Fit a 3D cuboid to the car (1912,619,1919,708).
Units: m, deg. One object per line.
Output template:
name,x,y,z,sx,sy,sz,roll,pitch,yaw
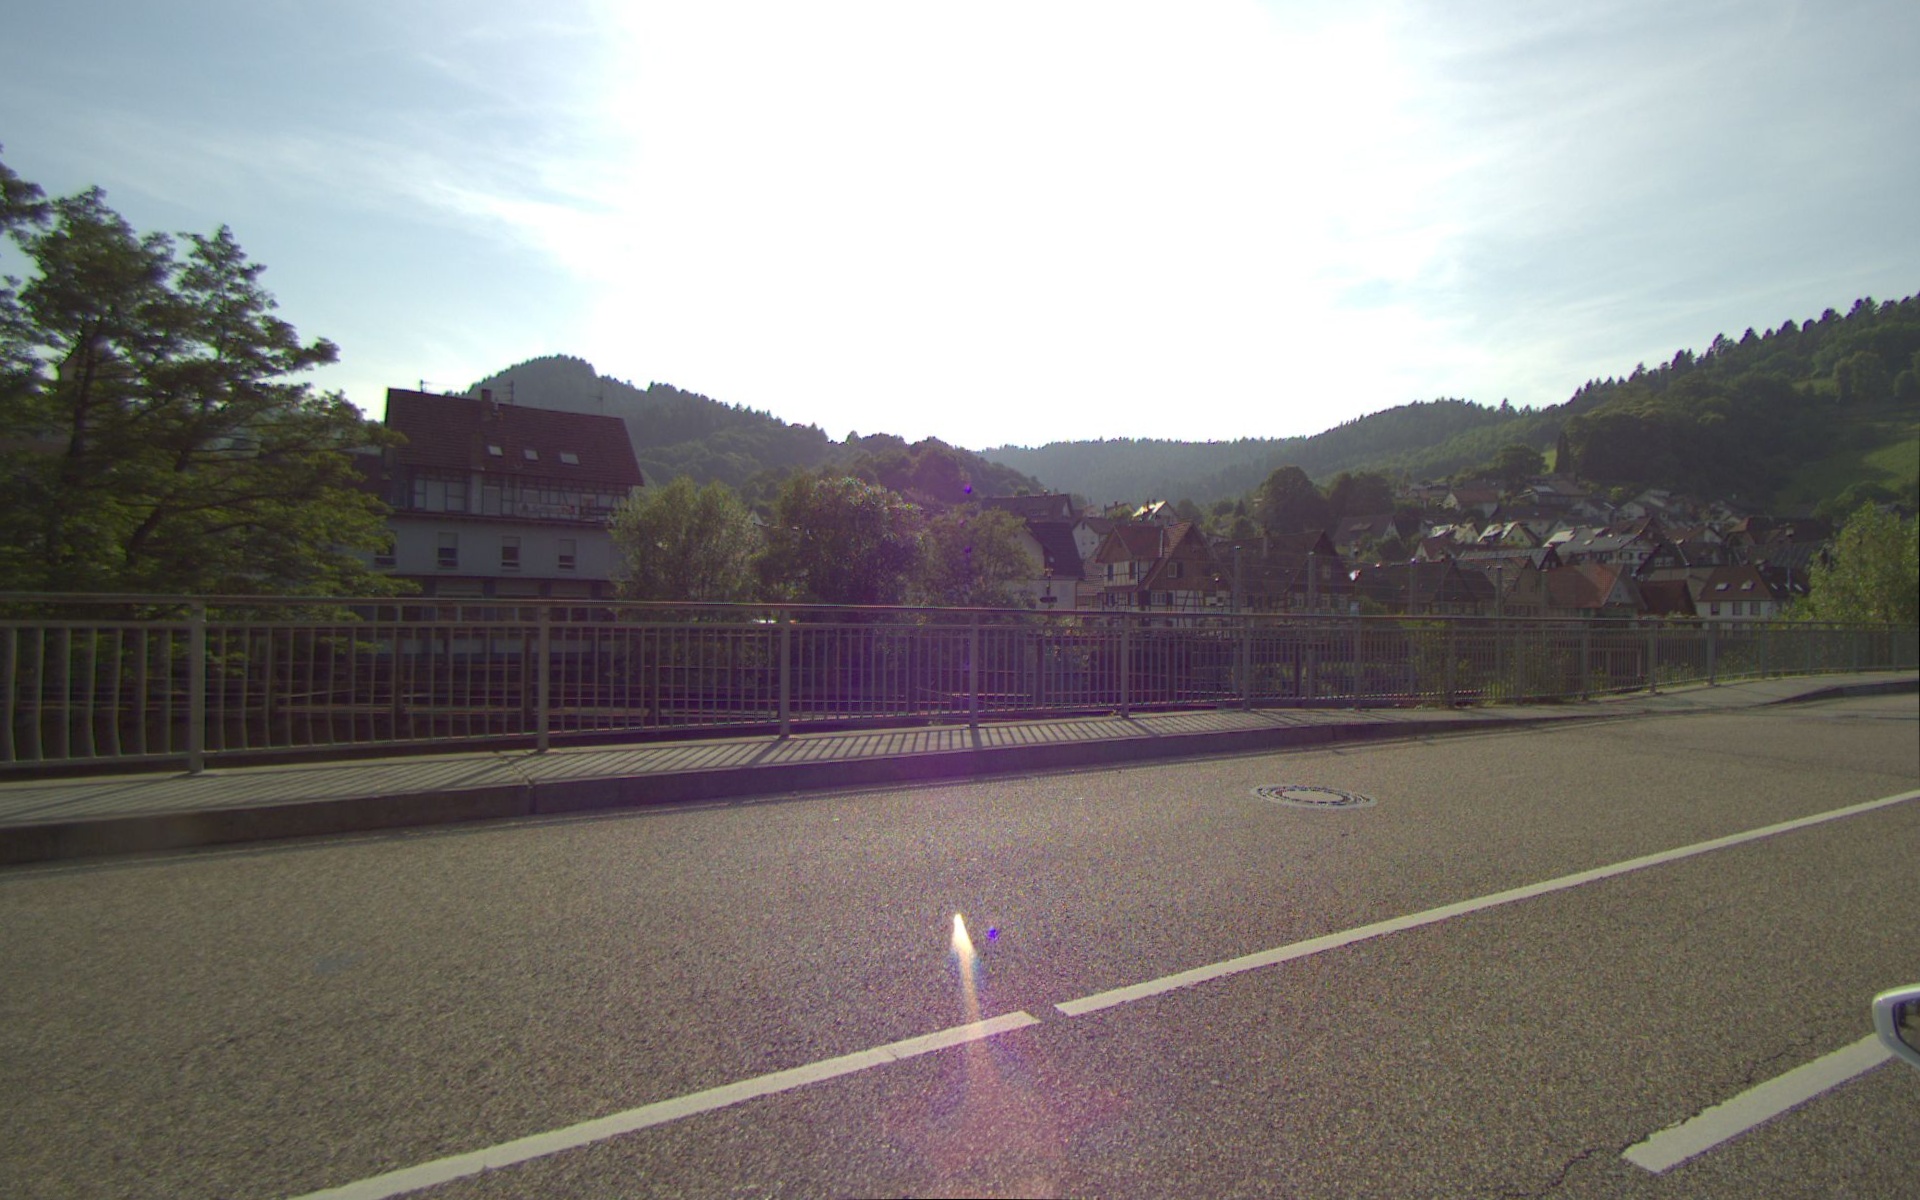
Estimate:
car,18.460,1.109,17.362,4.473,1.502,1.773,1,0,-31
